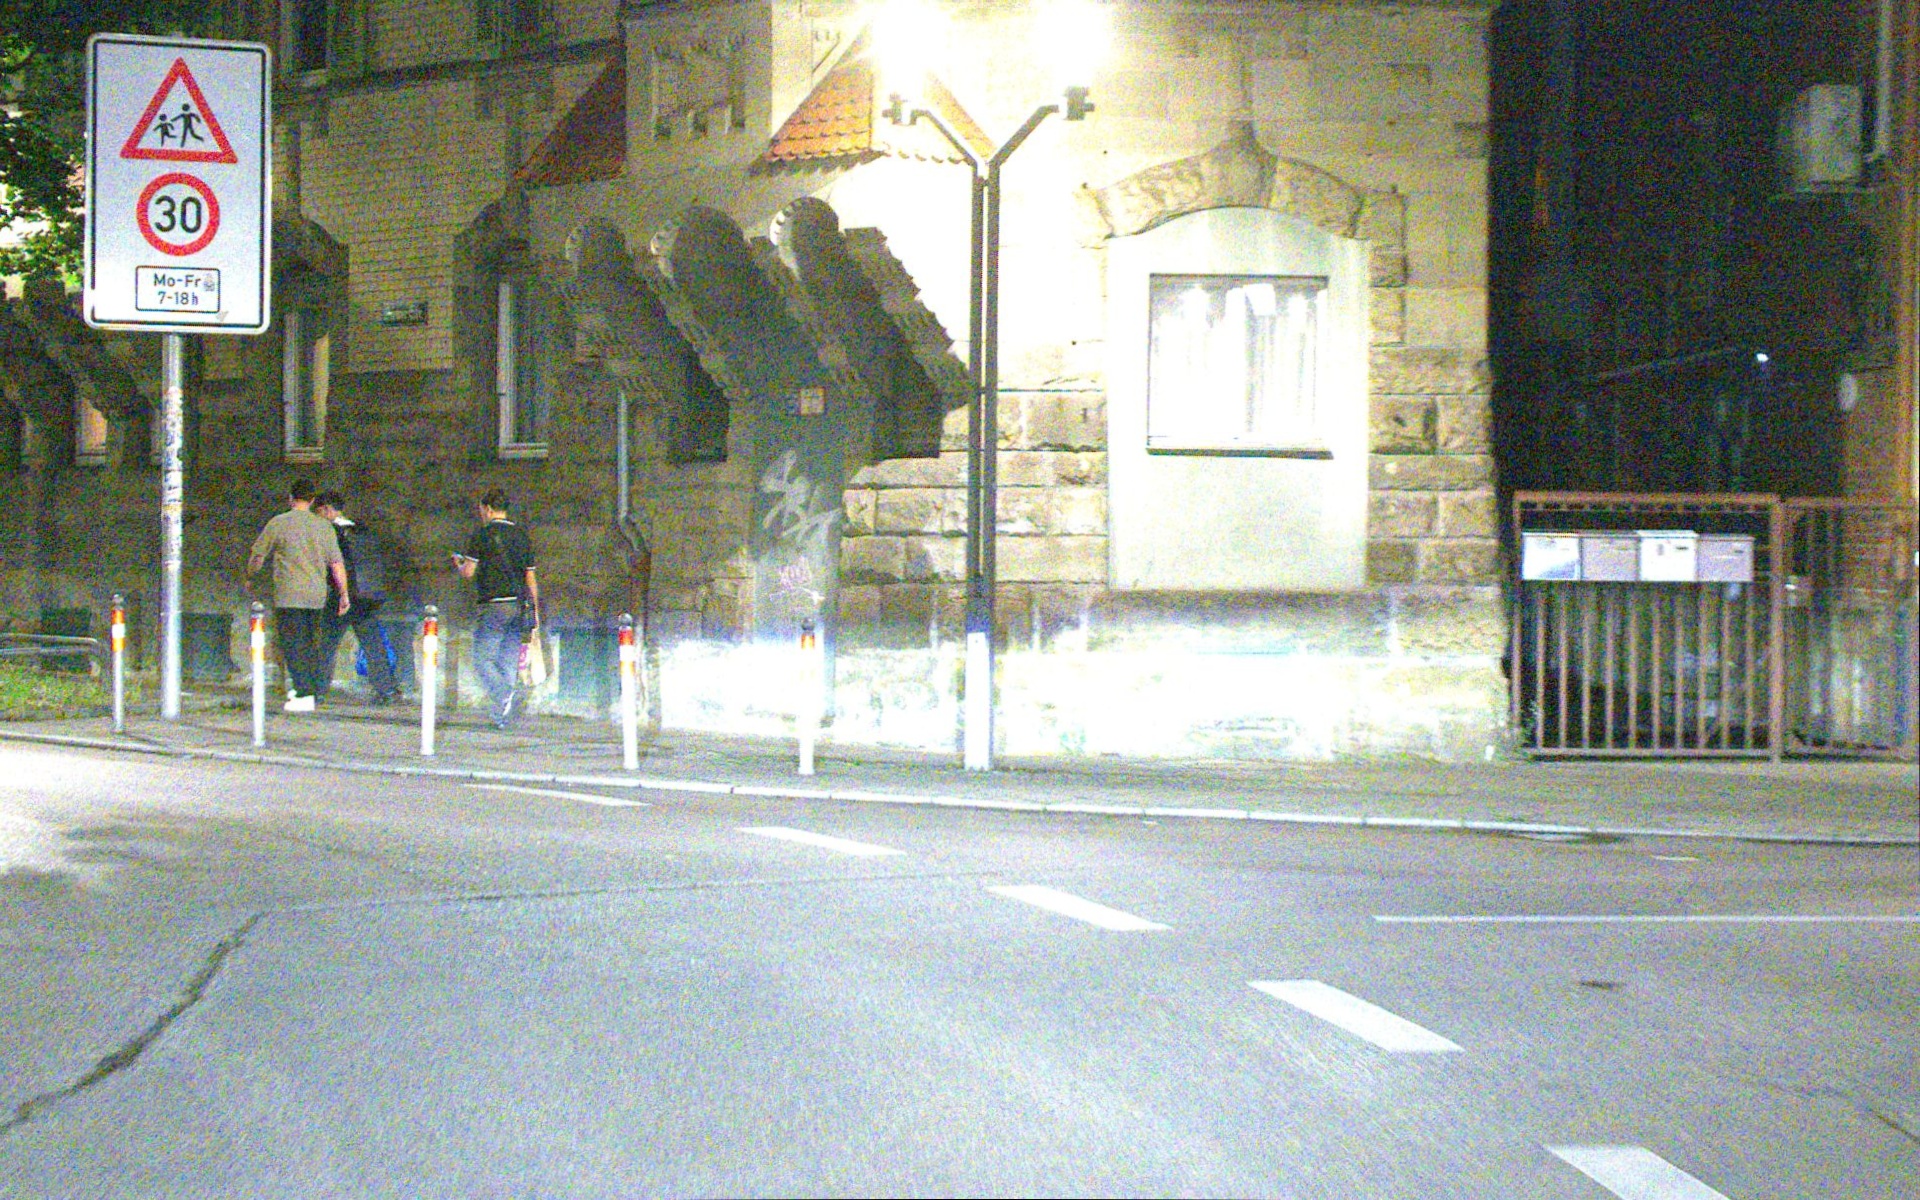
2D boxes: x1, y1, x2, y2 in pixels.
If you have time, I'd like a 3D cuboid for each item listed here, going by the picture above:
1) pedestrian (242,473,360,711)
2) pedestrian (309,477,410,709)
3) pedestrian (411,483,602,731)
[{"bbox_3d":[-4.810,-0.070,25.084,0.704,1.703,0.507,2,2,44],"label":"pedestrian"},{"bbox_3d":[-4.484,-0.059,25.685,0.570,1.703,0.477,2,2,44],"label":"pedestrian"},{"bbox_3d":[-3.065,0.036,23.247,0.965,1.625,0.808,2,1,37],"label":"pedestrian"}]
